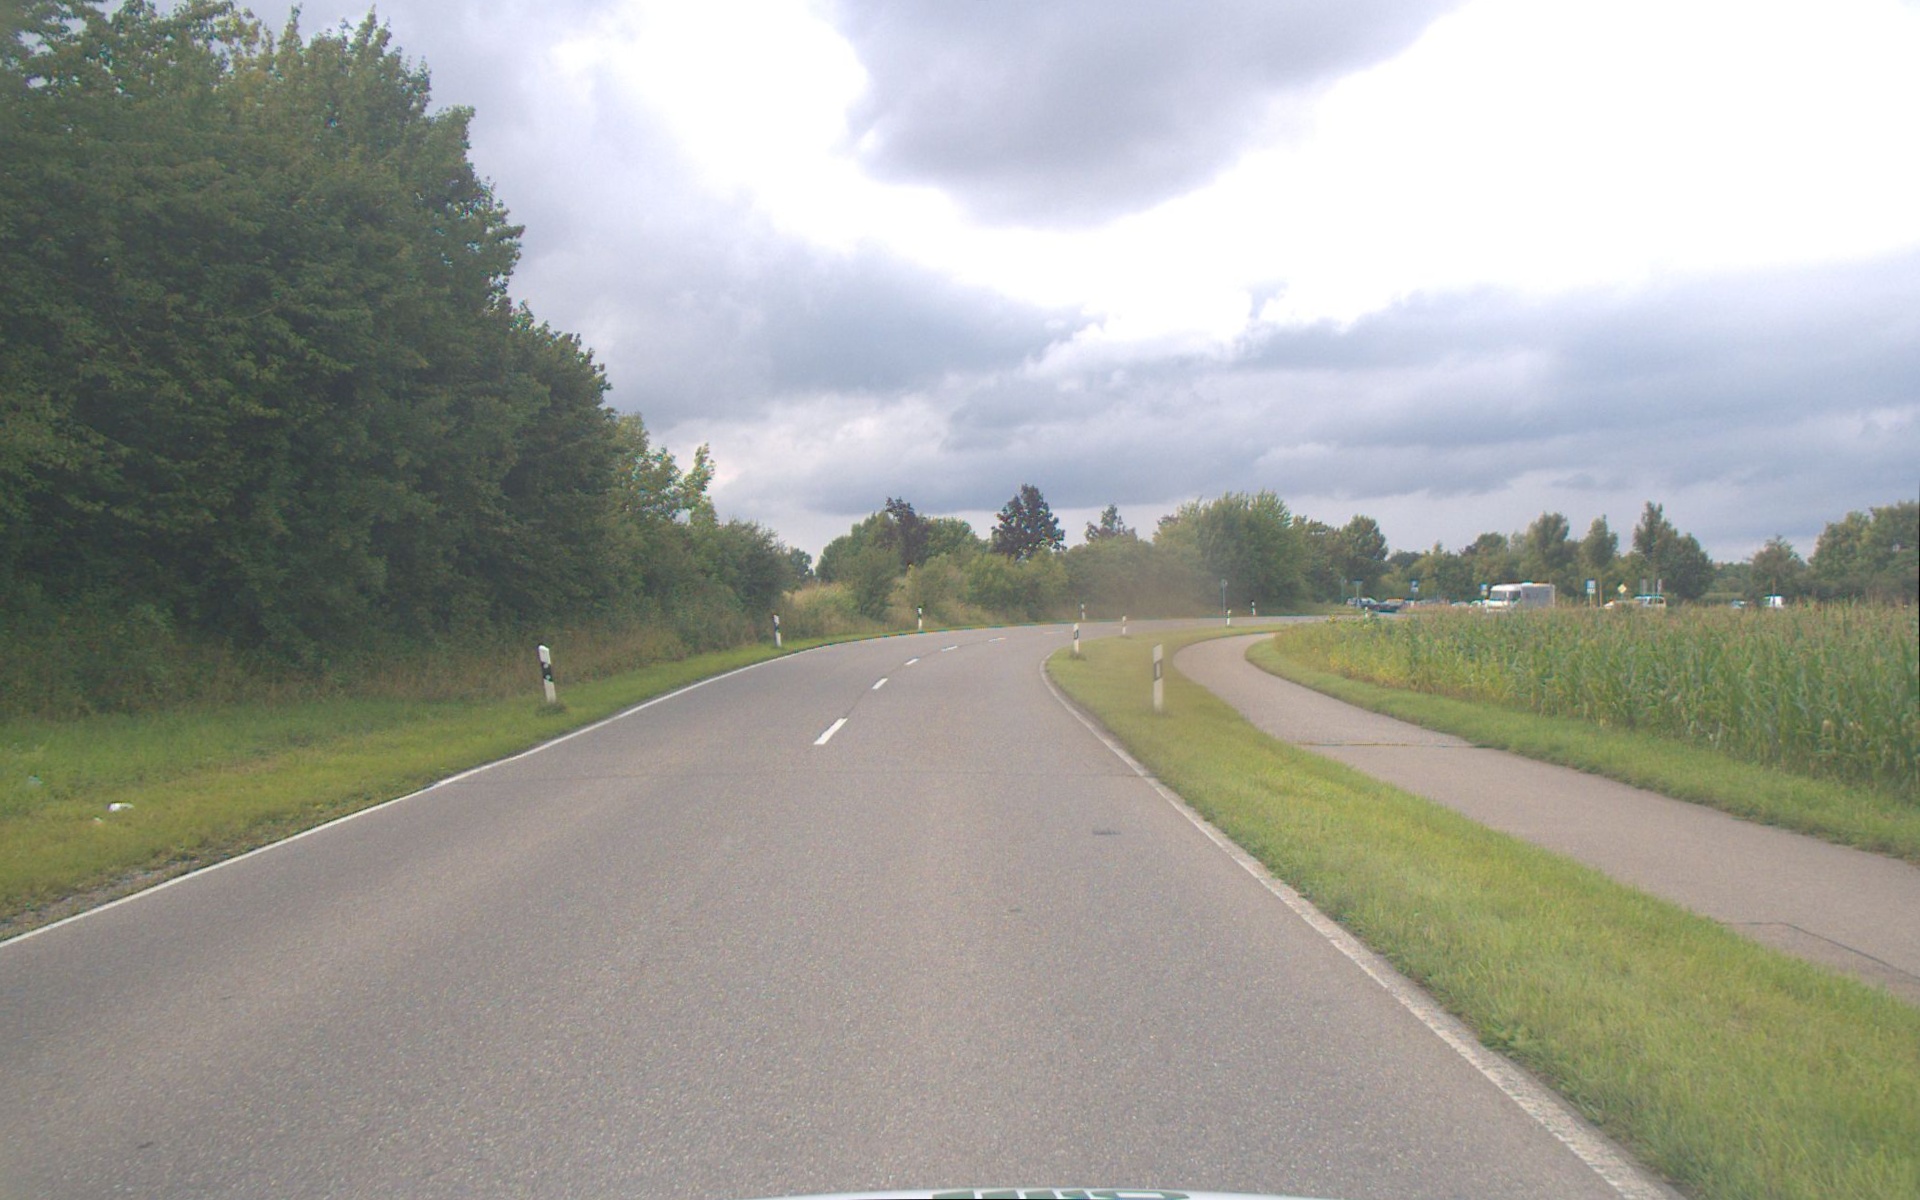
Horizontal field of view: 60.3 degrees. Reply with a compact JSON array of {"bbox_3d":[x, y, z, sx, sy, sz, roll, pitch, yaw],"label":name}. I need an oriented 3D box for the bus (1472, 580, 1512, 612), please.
[{"bbox_3d":[47.445,-0.333,147.427,2.426,2.758,8.425,1,0,25],"label":"bus"}]
